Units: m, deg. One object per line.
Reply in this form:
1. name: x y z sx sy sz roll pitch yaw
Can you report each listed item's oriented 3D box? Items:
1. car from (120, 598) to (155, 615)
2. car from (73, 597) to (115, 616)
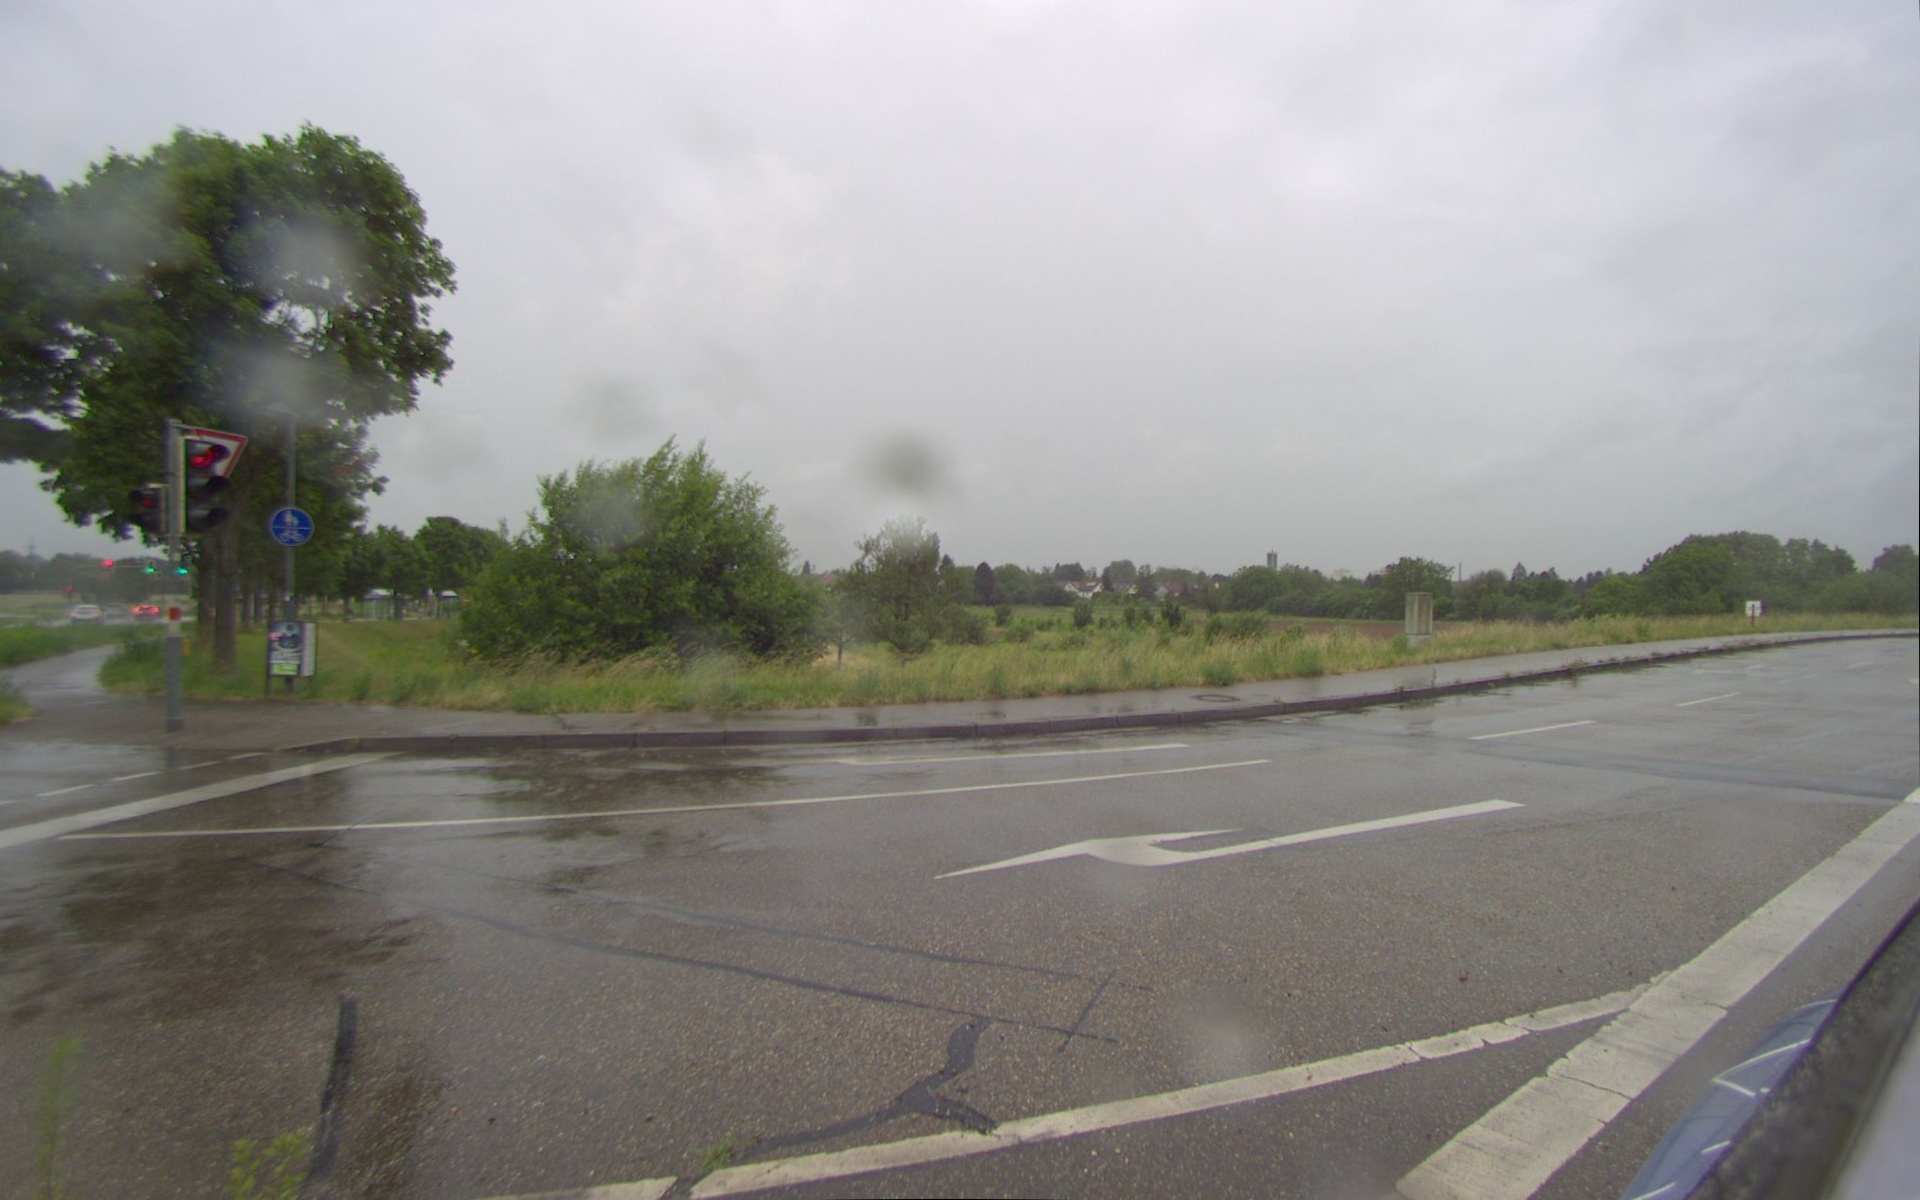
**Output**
1. car: -71.476 0.574 87.971 1.843 1.371 4.055 0 1 -32
2. car: -66.603 0.478 77.874 1.843 1.371 4.055 0 1 -32
